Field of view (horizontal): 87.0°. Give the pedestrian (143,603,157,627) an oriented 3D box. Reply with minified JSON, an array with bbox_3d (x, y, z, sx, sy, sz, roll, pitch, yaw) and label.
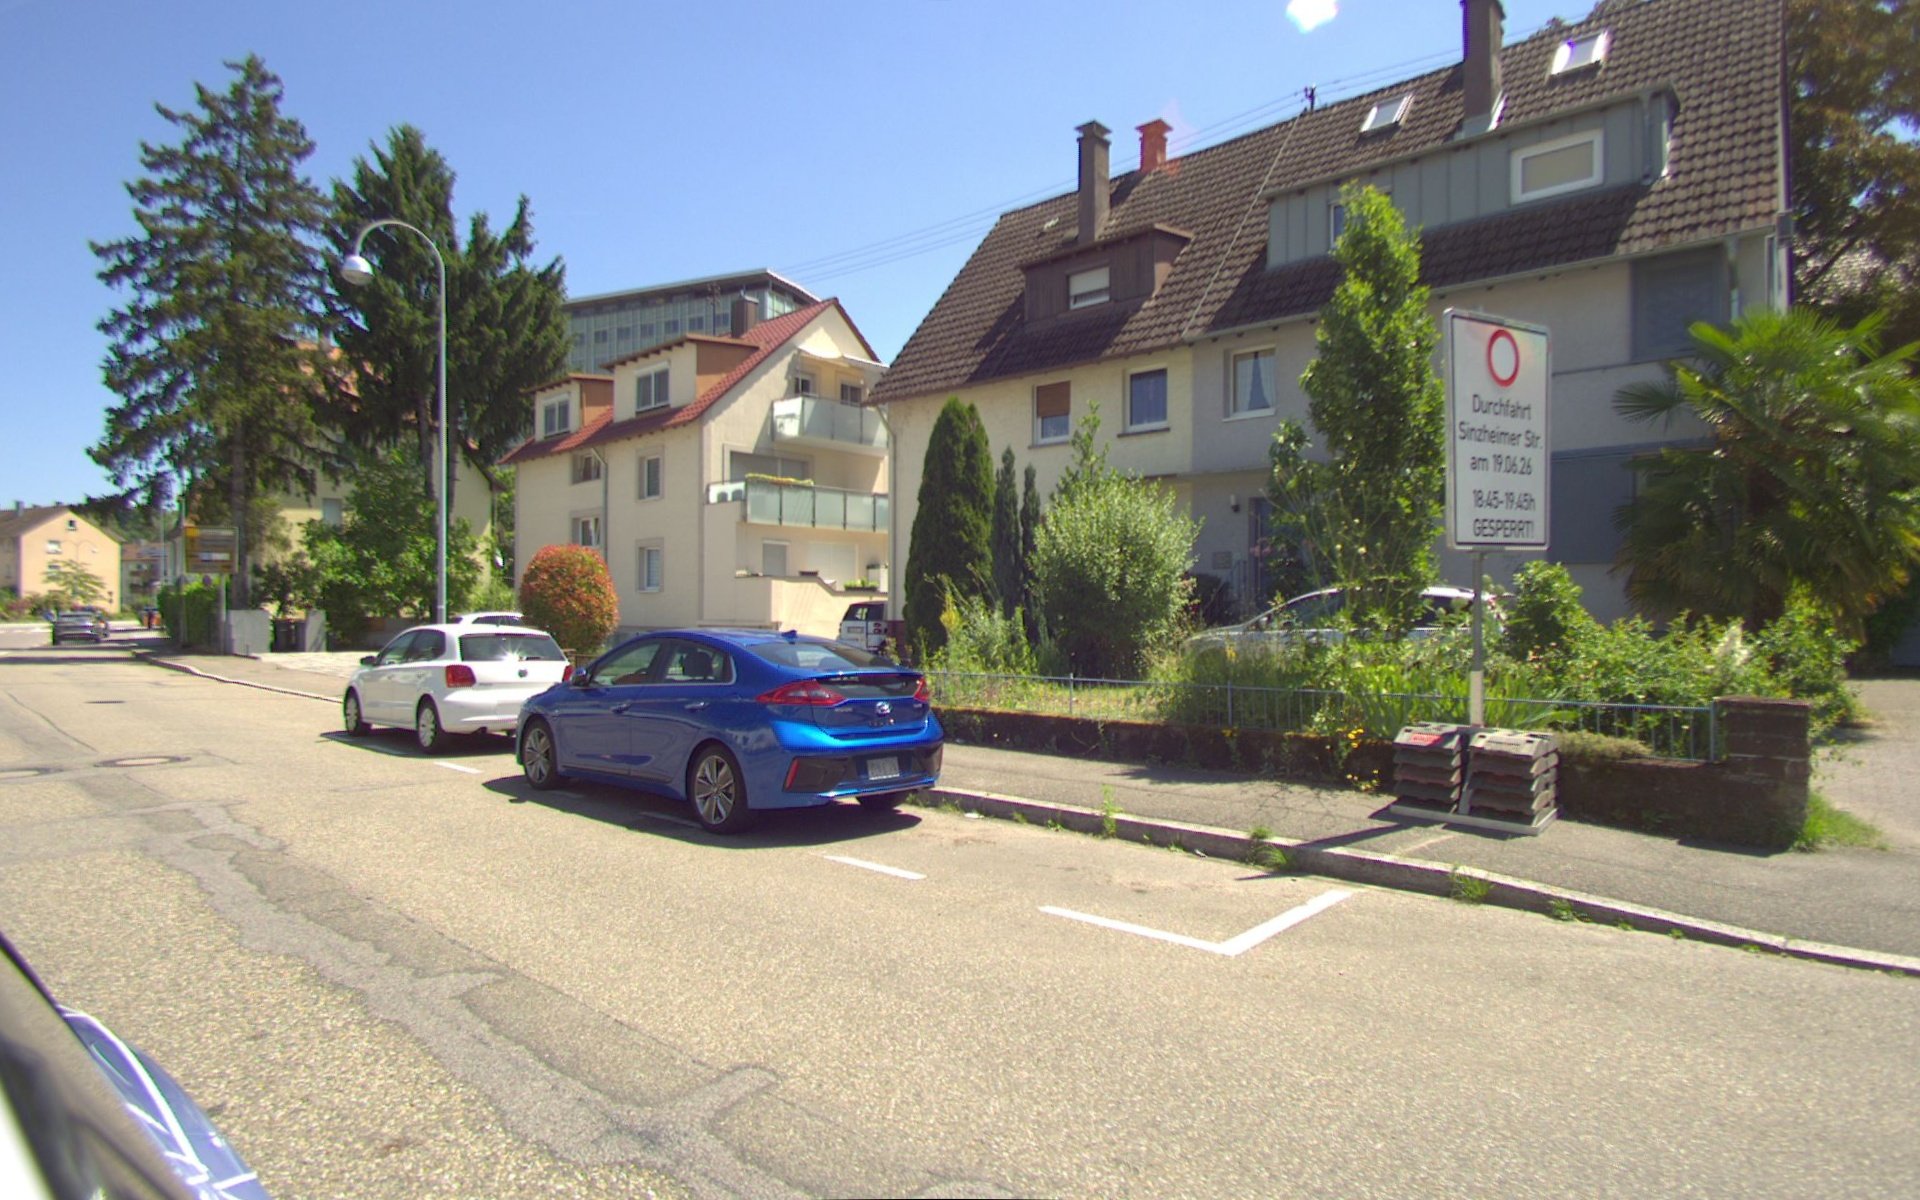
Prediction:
[{"bbox_3d":[-55.321,1.013,69.119,0.606,1.576,0.825,-6,3,-42],"label":"pedestrian"}]

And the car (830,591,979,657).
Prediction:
[{"bbox_3d":[-1.345,0.584,25.765,1.646,1.548,3.745,-2,-1,40],"label":"car"}]

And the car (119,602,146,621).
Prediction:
[{"bbox_3d":[-73.116,1.019,89.440,1.830,1.629,4.304,0,0,-40],"label":"car"}]

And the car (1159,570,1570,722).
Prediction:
[{"bbox_3d":[4.816,0.417,12.475,4.361,1.519,1.750,2,2,42],"label":"car"}]

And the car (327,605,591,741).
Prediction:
[{"bbox_3d":[-6.329,0.843,12.603,3.939,1.434,1.561,-1,-4,42],"label":"car"}]

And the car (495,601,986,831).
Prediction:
[{"bbox_3d":[-2.018,0.804,8.480,4.360,1.450,1.750,-1,-4,41],"label":"car"}]

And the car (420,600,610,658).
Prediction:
[{"bbox_3d":[-12.142,0.732,27.797,4.415,1.452,1.849,0,0,-44],"label":"car"}]

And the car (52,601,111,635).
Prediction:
[{"bbox_3d":[-42.107,0.879,48.572,1.717,1.516,4.152,3,-3,-36],"label":"car"}]
